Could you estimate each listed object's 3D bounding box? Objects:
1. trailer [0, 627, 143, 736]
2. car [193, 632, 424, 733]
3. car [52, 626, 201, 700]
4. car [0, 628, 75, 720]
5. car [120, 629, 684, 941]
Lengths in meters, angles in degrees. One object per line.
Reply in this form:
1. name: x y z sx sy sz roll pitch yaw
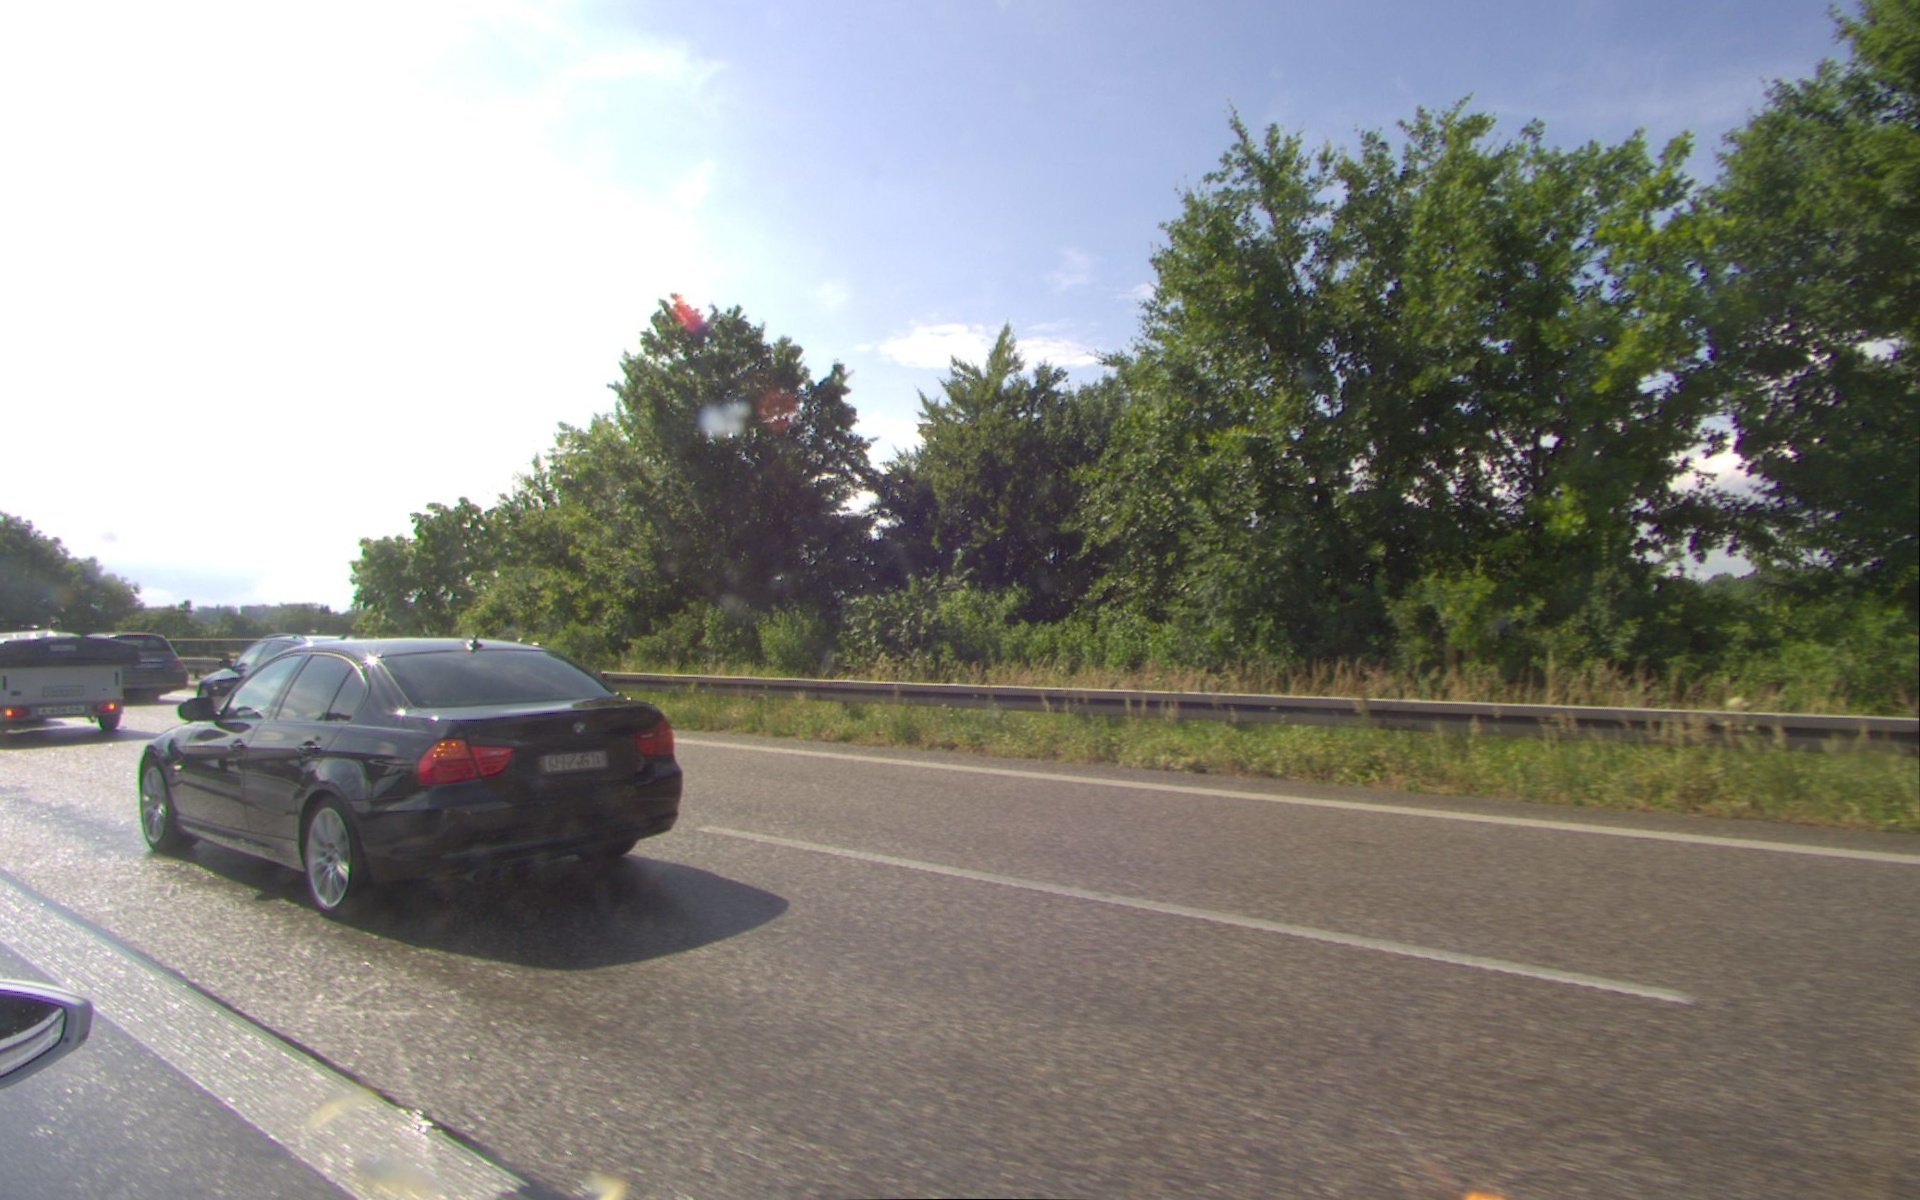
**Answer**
1. trailer: -14.210 1.141 15.158 4.092 1.460 1.850 -1 -1 35
2. car: -10.580 1.225 16.163 4.233 1.419 1.765 -1 -2 36
3. car: -18.439 1.340 22.115 3.622 1.502 1.667 -1 -1 35
4. car: -16.992 1.208 17.143 4.201 1.460 1.849 -1 -1 35
5. car: -3.707 0.910 6.464 3.784 1.439 1.735 -1 -1 35
